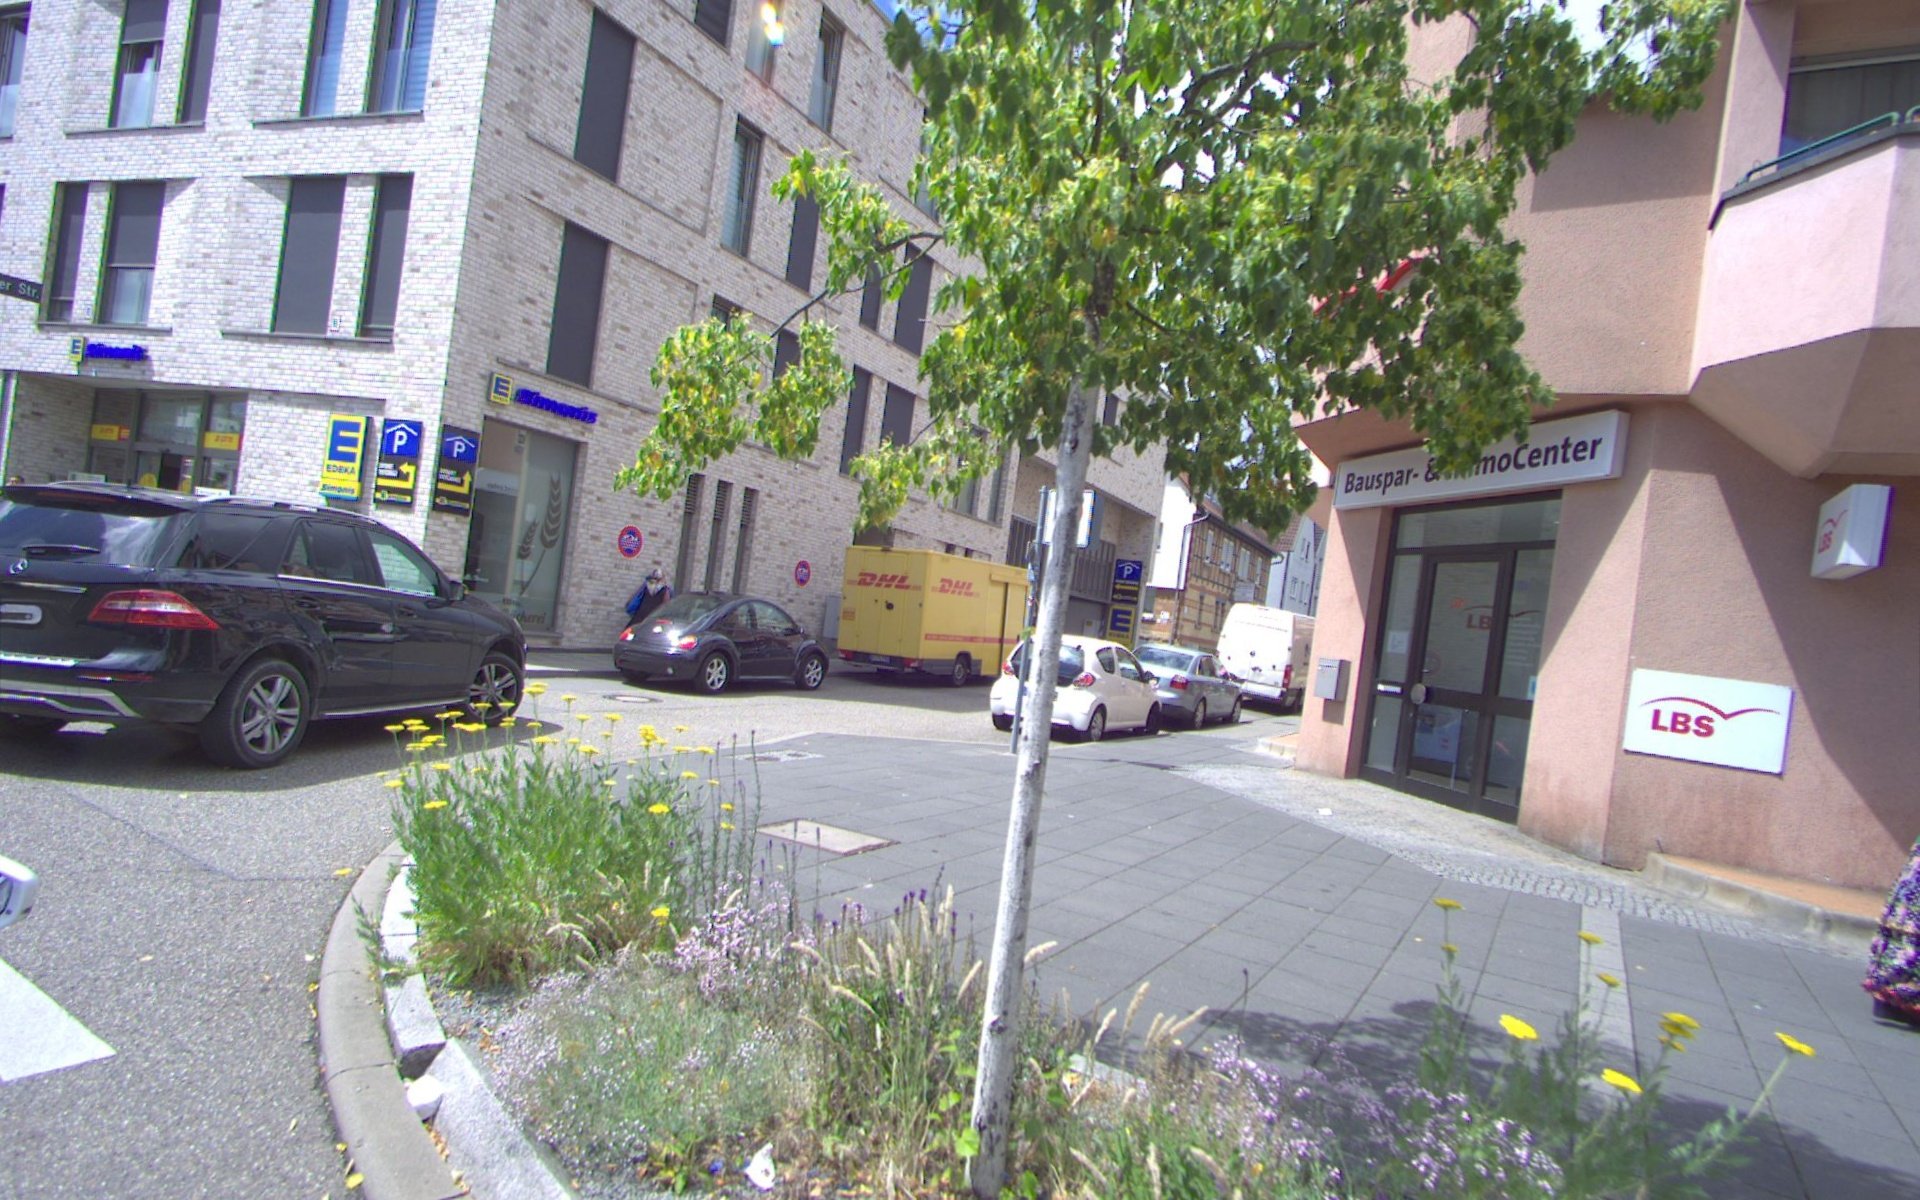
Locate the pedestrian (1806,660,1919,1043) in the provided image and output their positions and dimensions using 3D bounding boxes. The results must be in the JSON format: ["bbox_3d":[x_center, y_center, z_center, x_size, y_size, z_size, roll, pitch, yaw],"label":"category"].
[{"bbox_3d":[4.654,1.161,4.613,0.912,1.660,0.744,7,2,32],"label":"pedestrian"}]

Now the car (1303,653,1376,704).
[{"bbox_3d":[13.351,2.746,35.312,1.604,1.495,3.769,7,0,31],"label":"car"}]

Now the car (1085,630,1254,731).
[{"bbox_3d":[4.081,1.492,19.105,1.802,1.495,4.013,7,0,31],"label":"car"}]

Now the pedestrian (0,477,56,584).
[{"bbox_3d":[-16.561,-1.230,17.420,0.647,1.763,1.018,7,0,16],"label":"pedestrian"}]

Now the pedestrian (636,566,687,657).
[{"bbox_3d":[-5.446,0.220,18.385,0.592,1.591,0.523,6,-2,-1],"label":"pedestrian"}]

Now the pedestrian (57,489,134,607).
[{"bbox_3d":[-13.432,-0.802,15.654,0.652,1.713,0.627,7,0,-30],"label":"pedestrian"}]

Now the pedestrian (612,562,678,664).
[{"bbox_3d":[-5.554,0.246,17.744,0.801,1.690,0.556,6,-2,-1],"label":"pedestrian"}]

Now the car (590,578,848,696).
[{"bbox_3d":[-3.693,0.622,16.102,1.753,1.495,3.900,7,0,29],"label":"car"}]

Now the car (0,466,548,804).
[{"bbox_3d":[-5.318,0.156,7.876,1.962,1.768,4.532,7,0,3],"label":"car"}]

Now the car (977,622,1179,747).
[{"bbox_3d":[1.900,1.244,15.340,1.690,1.495,3.385,7,0,31],"label":"car"}]

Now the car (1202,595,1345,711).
[{"bbox_3d":[8.539,1.445,26.969,2.092,2.586,5.892,7,0,31],"label":"car"}]

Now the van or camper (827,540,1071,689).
[{"bbox_3d":[0.042,0.412,22.862,2.238,2.770,6.863,5,0,30],"label":"van or camper"}]
